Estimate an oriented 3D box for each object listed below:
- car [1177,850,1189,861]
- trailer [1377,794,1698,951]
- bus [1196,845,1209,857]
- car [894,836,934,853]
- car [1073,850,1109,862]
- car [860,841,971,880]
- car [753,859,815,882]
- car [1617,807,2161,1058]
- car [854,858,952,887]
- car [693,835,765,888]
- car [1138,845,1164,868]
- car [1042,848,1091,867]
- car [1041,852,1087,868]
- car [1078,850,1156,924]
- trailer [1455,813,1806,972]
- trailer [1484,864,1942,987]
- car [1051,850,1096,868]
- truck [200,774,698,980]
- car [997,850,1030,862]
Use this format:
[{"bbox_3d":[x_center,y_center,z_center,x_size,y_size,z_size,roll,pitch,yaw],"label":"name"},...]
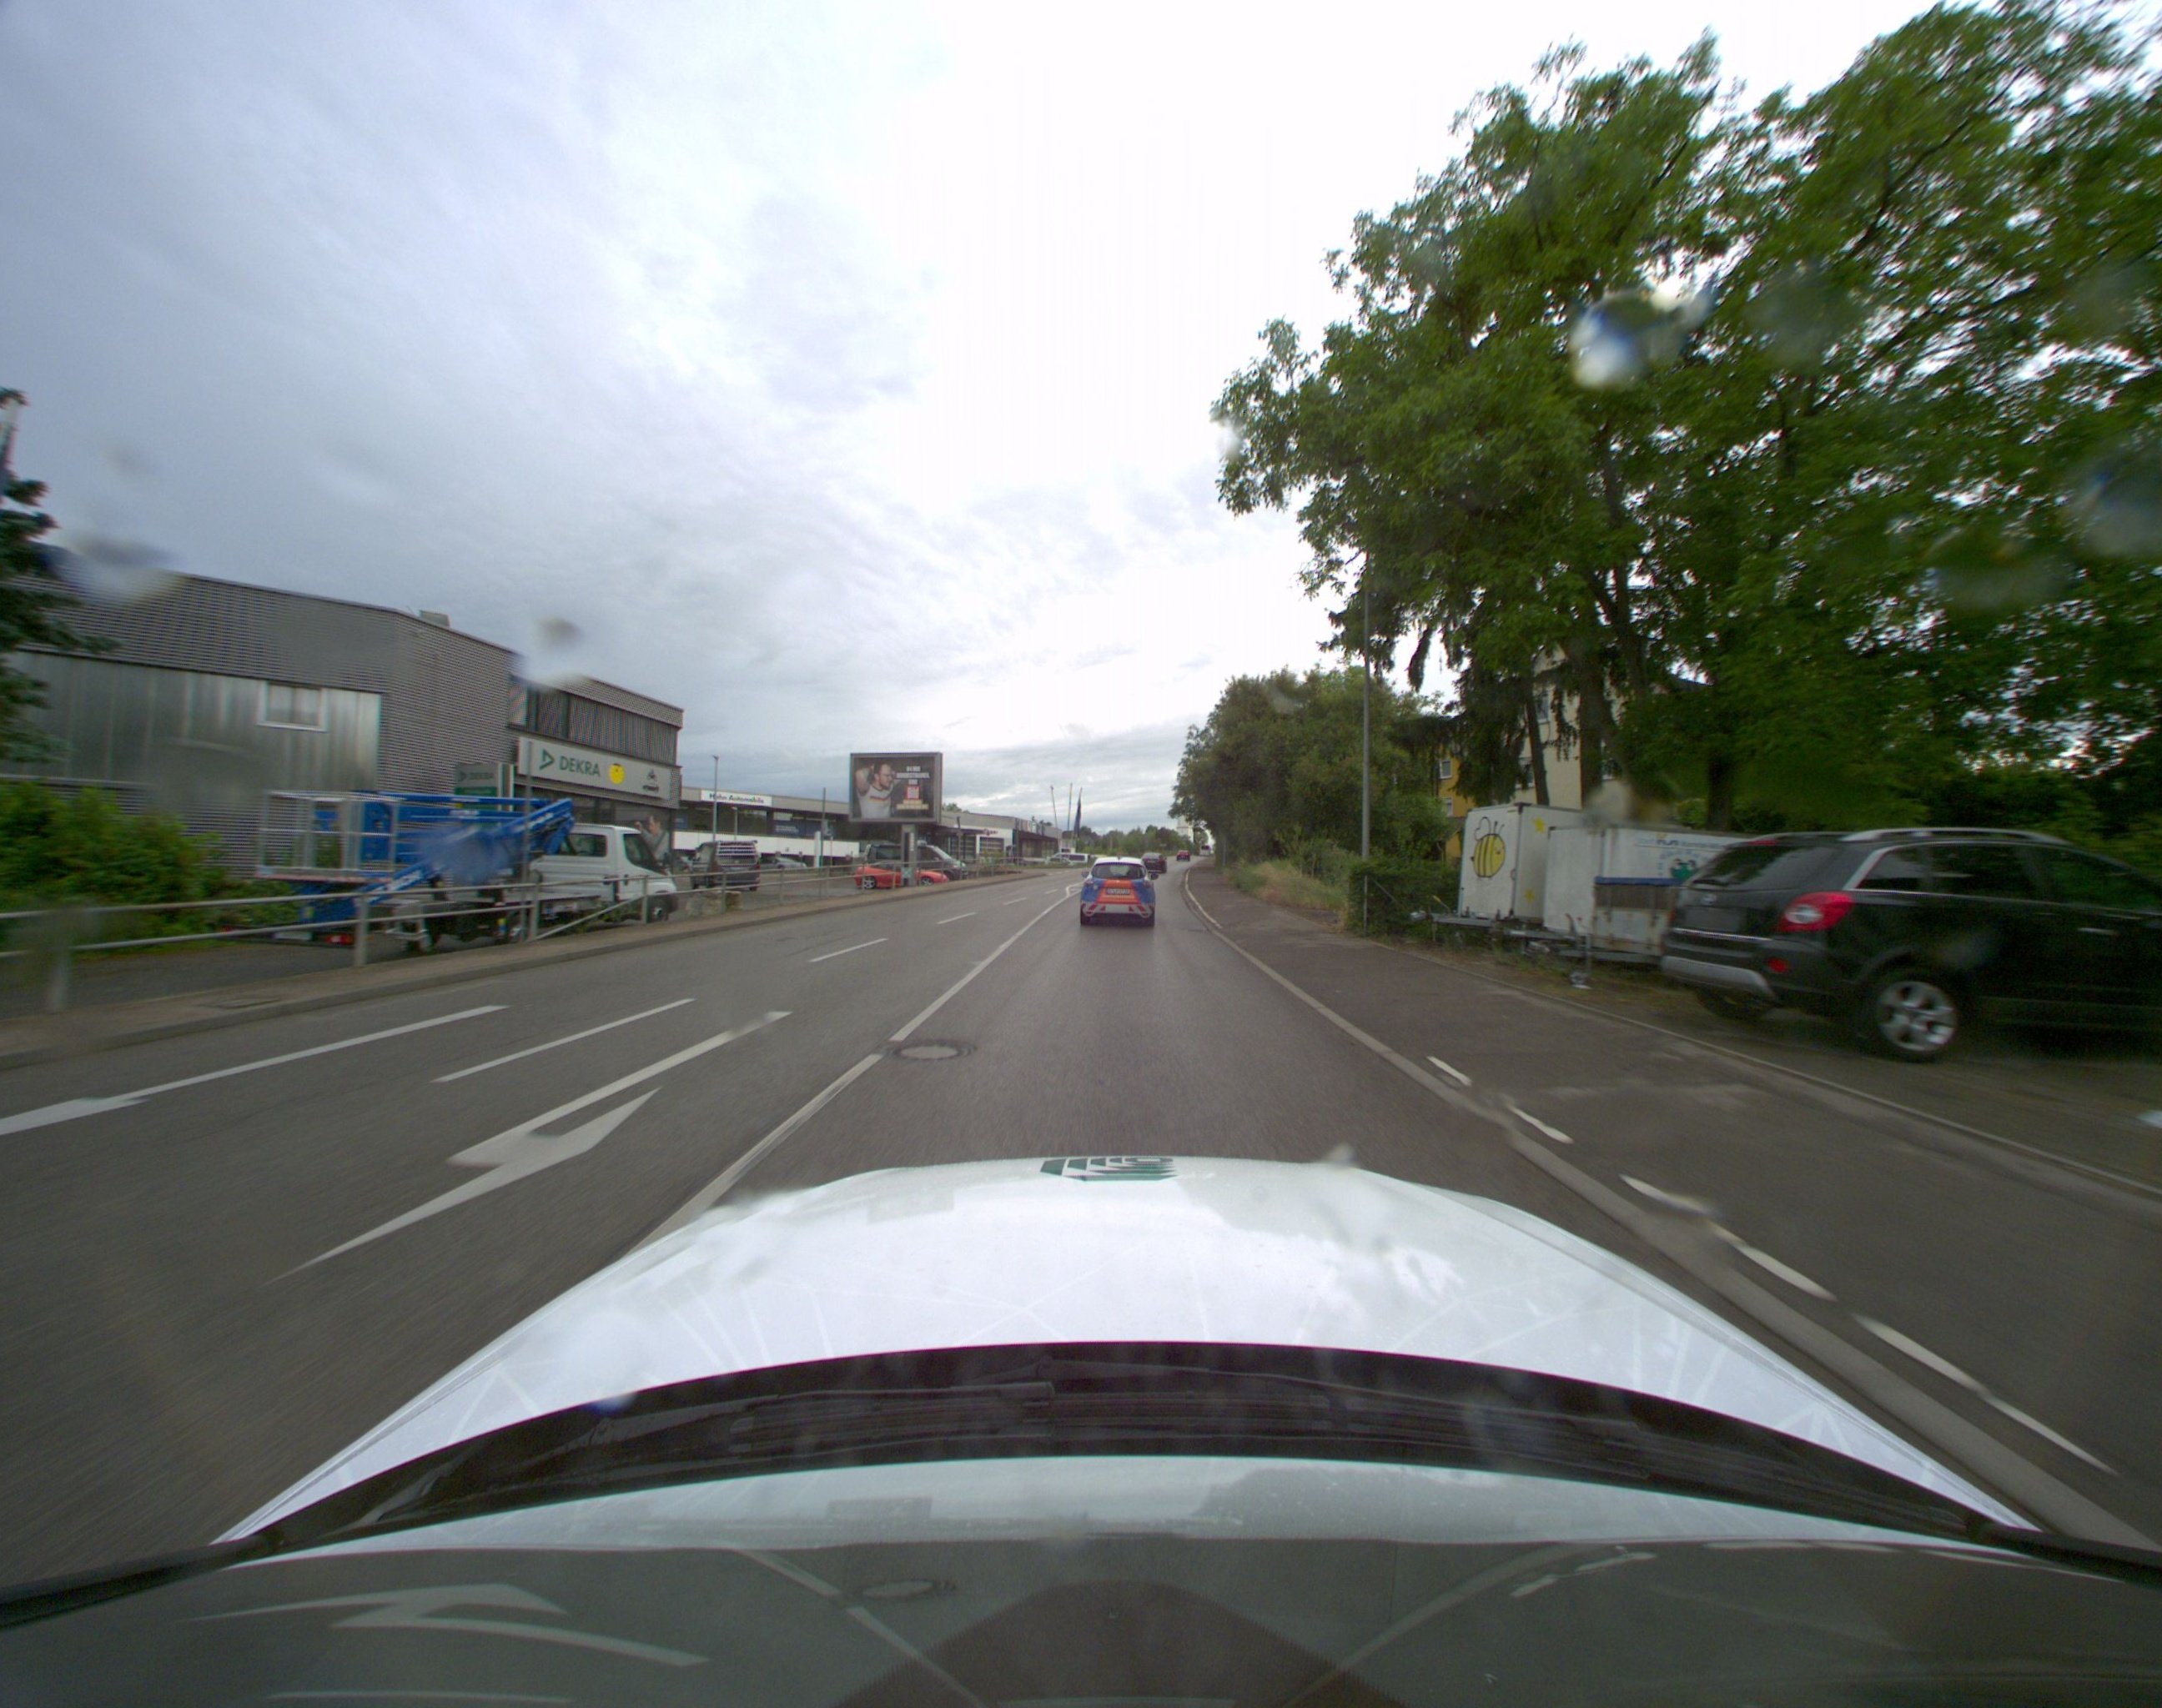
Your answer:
[{"bbox_3d":[13.977,0.189,112.106,1.605,1.407,3.504,0,0,7],"label":"car"},{"bbox_3d":[7.723,0.321,14.021,4.529,2.400,1.945,2,0,-6],"label":"trailer"},{"bbox_3d":[32.916,-0.866,220.880,2.897,3.169,11.481,0,0,5],"label":"bus"},{"bbox_3d":[-15.221,-0.875,74.518,1.803,1.478,4.041,0,1,18],"label":"car"},{"bbox_3d":[1.192,0.232,96.940,4.042,1.291,1.808,0,1,6],"label":"car"},{"bbox_3d":[-8.093,0.330,40.122,5.050,1.870,1.823,0,0,0],"label":"car"},{"bbox_3d":[-19.952,1.056,54.665,4.053,1.428,1.901,1,0,34],"label":"car"},{"bbox_3d":[7.234,0.551,6.790,4.196,1.749,1.986,1,1,2],"label":"car"},{"bbox_3d":[-8.044,0.820,37.073,4.083,1.267,1.767,0,0,-4],"label":"car"},{"bbox_3d":[-14.388,0.270,33.110,2.007,1.987,4.829,1,0,-31],"label":"car"},{"bbox_3d":[4.963,0.202,57.646,1.793,1.590,3.568,0,0,5],"label":"car"},{"bbox_3d":[-1.379,0.307,78.578,4.388,1.797,1.939,0,0,8],"label":"car"},{"bbox_3d":[-1.563,0.541,76.012,3.986,1.478,1.828,0,0,8],"label":"car"},{"bbox_3d":[0.940,0.742,19.599,1.649,1.593,3.573,1,-1,5],"label":"car"},{"bbox_3d":[7.824,0.518,11.864,3.939,2.022,1.687,2,0,0],"label":"trailer"},{"bbox_3d":[7.509,0.813,9.971,4.382,1.288,1.572,1,1,0],"label":"trailer"},{"bbox_3d":[-0.737,0.502,84.348,4.390,1.797,2.006,0,0,6],"label":"car"},{"bbox_3d":[-10.022,0.209,14.432,1.983,2.632,7.907,0,1,6],"label":"truck"},{"bbox_3d":[-8.508,0.234,102.841,3.972,1.416,1.965,1,1,43],"label":"car"}]
